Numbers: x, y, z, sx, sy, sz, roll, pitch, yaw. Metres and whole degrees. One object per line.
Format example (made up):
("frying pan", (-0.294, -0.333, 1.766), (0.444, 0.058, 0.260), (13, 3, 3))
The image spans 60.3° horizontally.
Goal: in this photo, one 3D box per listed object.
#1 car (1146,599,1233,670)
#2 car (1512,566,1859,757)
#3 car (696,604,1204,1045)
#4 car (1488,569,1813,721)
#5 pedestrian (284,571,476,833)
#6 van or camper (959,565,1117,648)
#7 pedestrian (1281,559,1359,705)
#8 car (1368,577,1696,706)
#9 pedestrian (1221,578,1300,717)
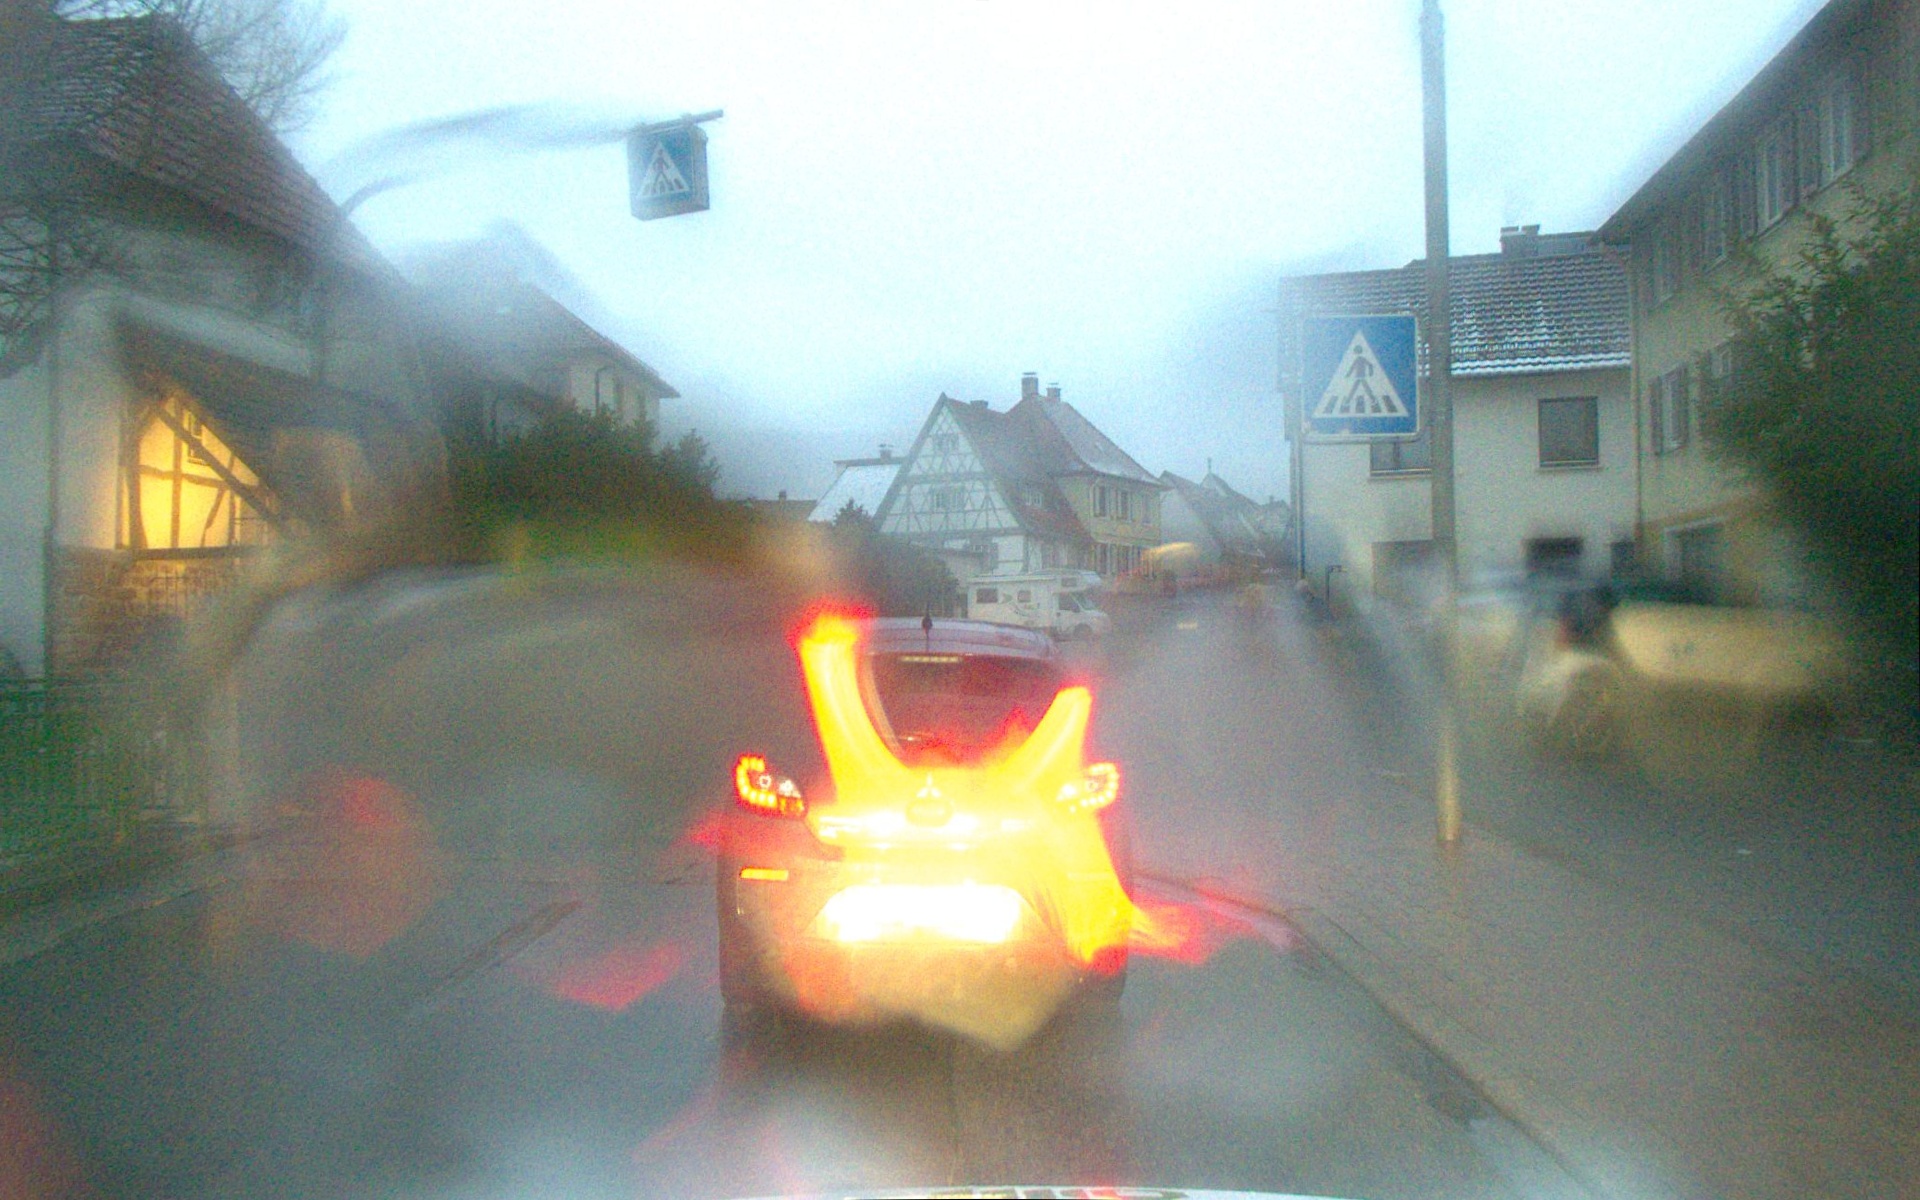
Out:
("car", (5.779, 0.837, 41.274), (1.808, 1.666, 4.339), (0, 0, 13))
("car", (6.605, 0.538, 15.269), (2.528, 1.574, 1.552), (-2, 0, 5))
("car", (-0.176, 0.778, 7.724), (1.760, 1.502, 3.996), (0, 0, -5))
("car", (7.586, 0.489, 18.409), (2.999, 1.500, 1.551), (-2, -1, 8))
("pedestrian", (-4.088, 0.695, 11.717), (0.861, 1.765, 0.956), (-2, 0, 14))
("van or camper", (3.253, 0.298, 68.721), (5.936, 3.006, 2.406), (-4, -2, 21))
("pedestrian", (4.585, 0.403, 21.040), (0.830, 1.763, 0.972), (-4, -1, 13))
("car", (7.507, 0.546, 22.037), (3.817, 1.500, 1.752), (-3, -1, 8))
("pedestrian", (3.879, 0.598, 21.330), (0.848, 1.696, 0.993), (-4, -1, 13))
